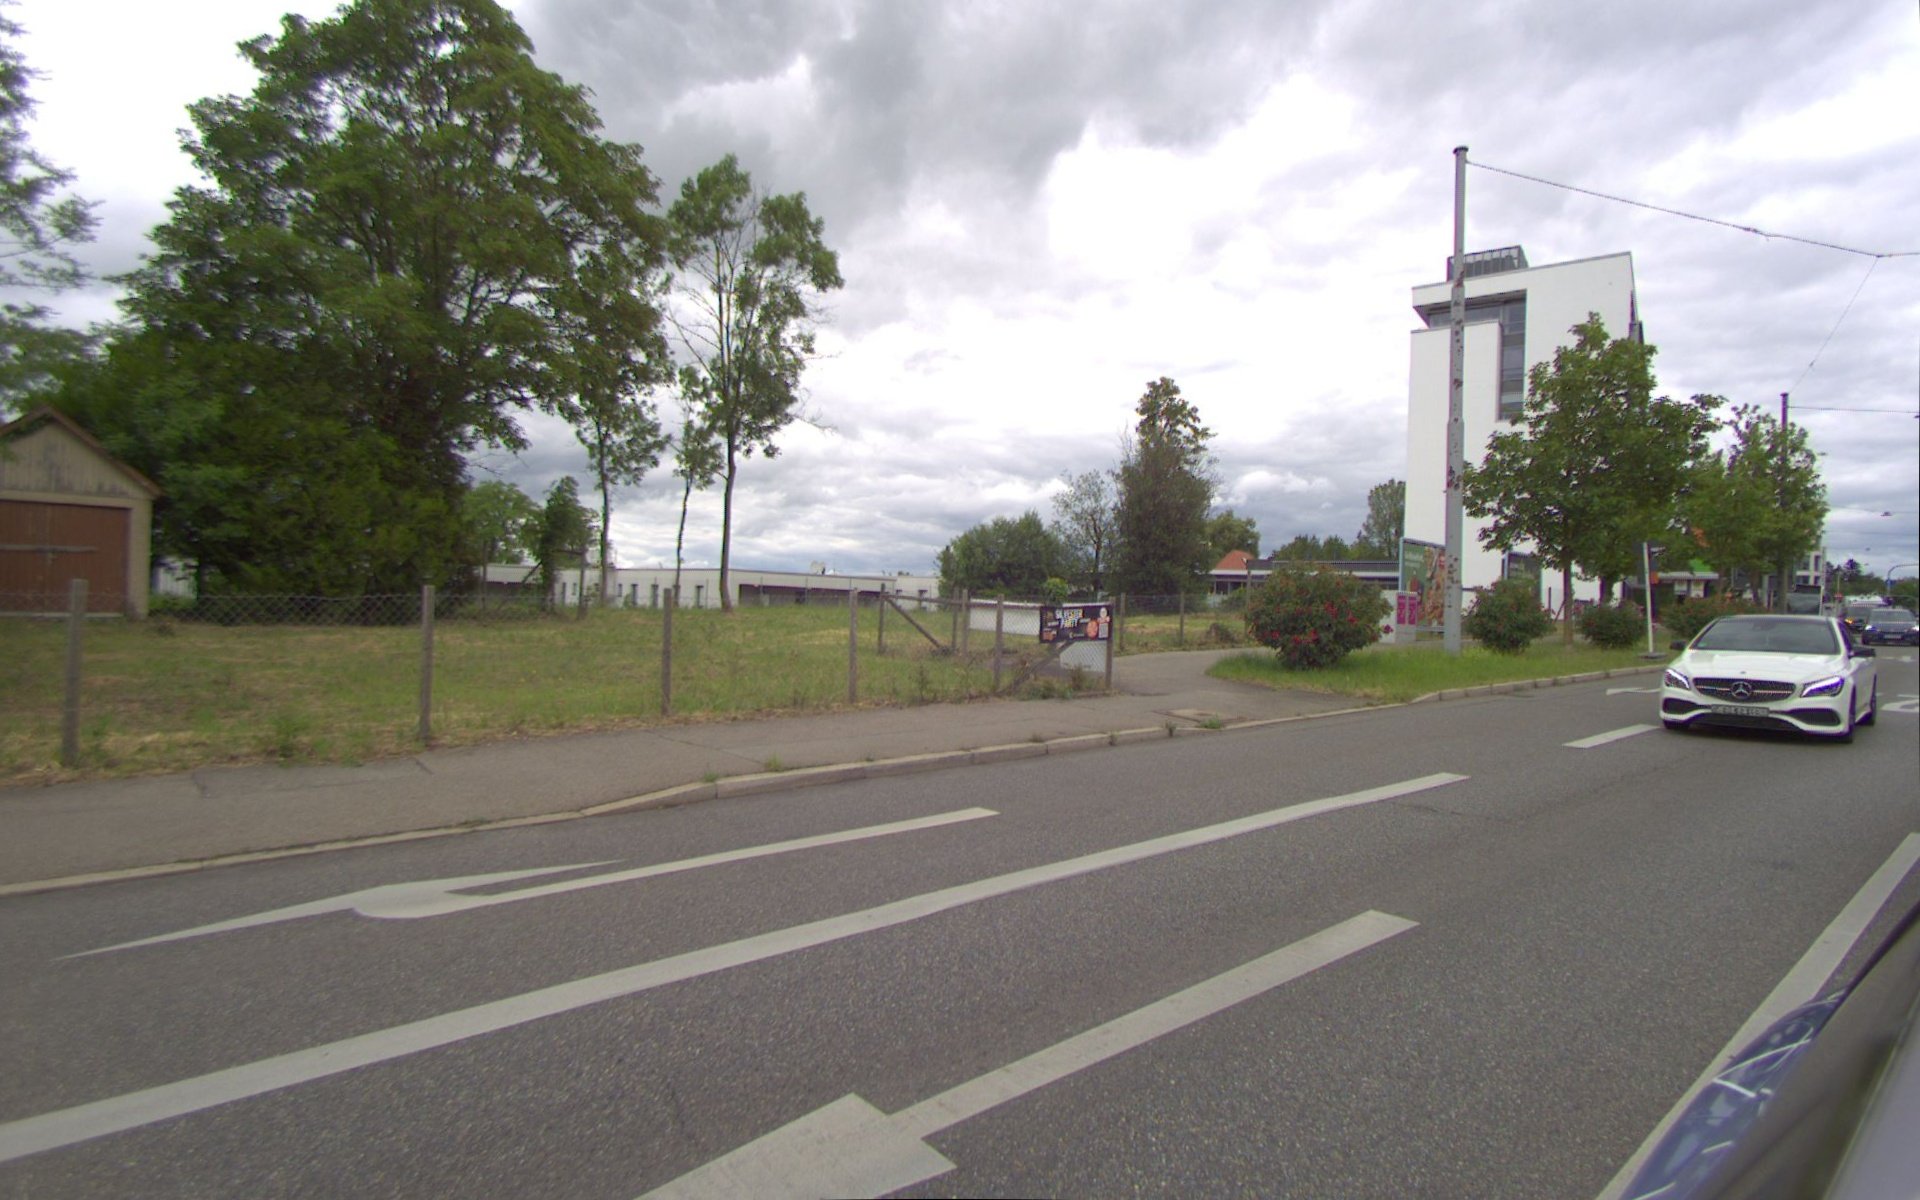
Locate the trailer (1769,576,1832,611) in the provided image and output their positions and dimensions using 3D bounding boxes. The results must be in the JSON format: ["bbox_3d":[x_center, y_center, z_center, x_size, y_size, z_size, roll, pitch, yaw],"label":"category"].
[{"bbox_3d":[116.702,-0.836,140.837,3.081,4.324,14.712,2,-1,25],"label":"trailer"}]

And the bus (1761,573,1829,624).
[{"bbox_3d":[57.977,-0.082,70.438,3.028,3.276,9.214,2,0,36],"label":"bus"}]

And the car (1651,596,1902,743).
[{"bbox_3d":[10.468,0.709,12.832,4.693,1.524,1.869,0,0,-43],"label":"car"}]

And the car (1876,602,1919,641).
[{"bbox_3d":[38.484,0.866,40.963,4.295,1.501,1.732,1,0,-43],"label":"car"}]

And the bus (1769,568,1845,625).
[{"bbox_3d":[52.423,-0.188,62.875,2.975,3.282,9.734,1,0,37],"label":"bus"}]

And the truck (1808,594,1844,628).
[{"bbox_3d":[110.595,1.442,129.280,2.934,4.007,9.035,4,1,38],"label":"truck"}]
